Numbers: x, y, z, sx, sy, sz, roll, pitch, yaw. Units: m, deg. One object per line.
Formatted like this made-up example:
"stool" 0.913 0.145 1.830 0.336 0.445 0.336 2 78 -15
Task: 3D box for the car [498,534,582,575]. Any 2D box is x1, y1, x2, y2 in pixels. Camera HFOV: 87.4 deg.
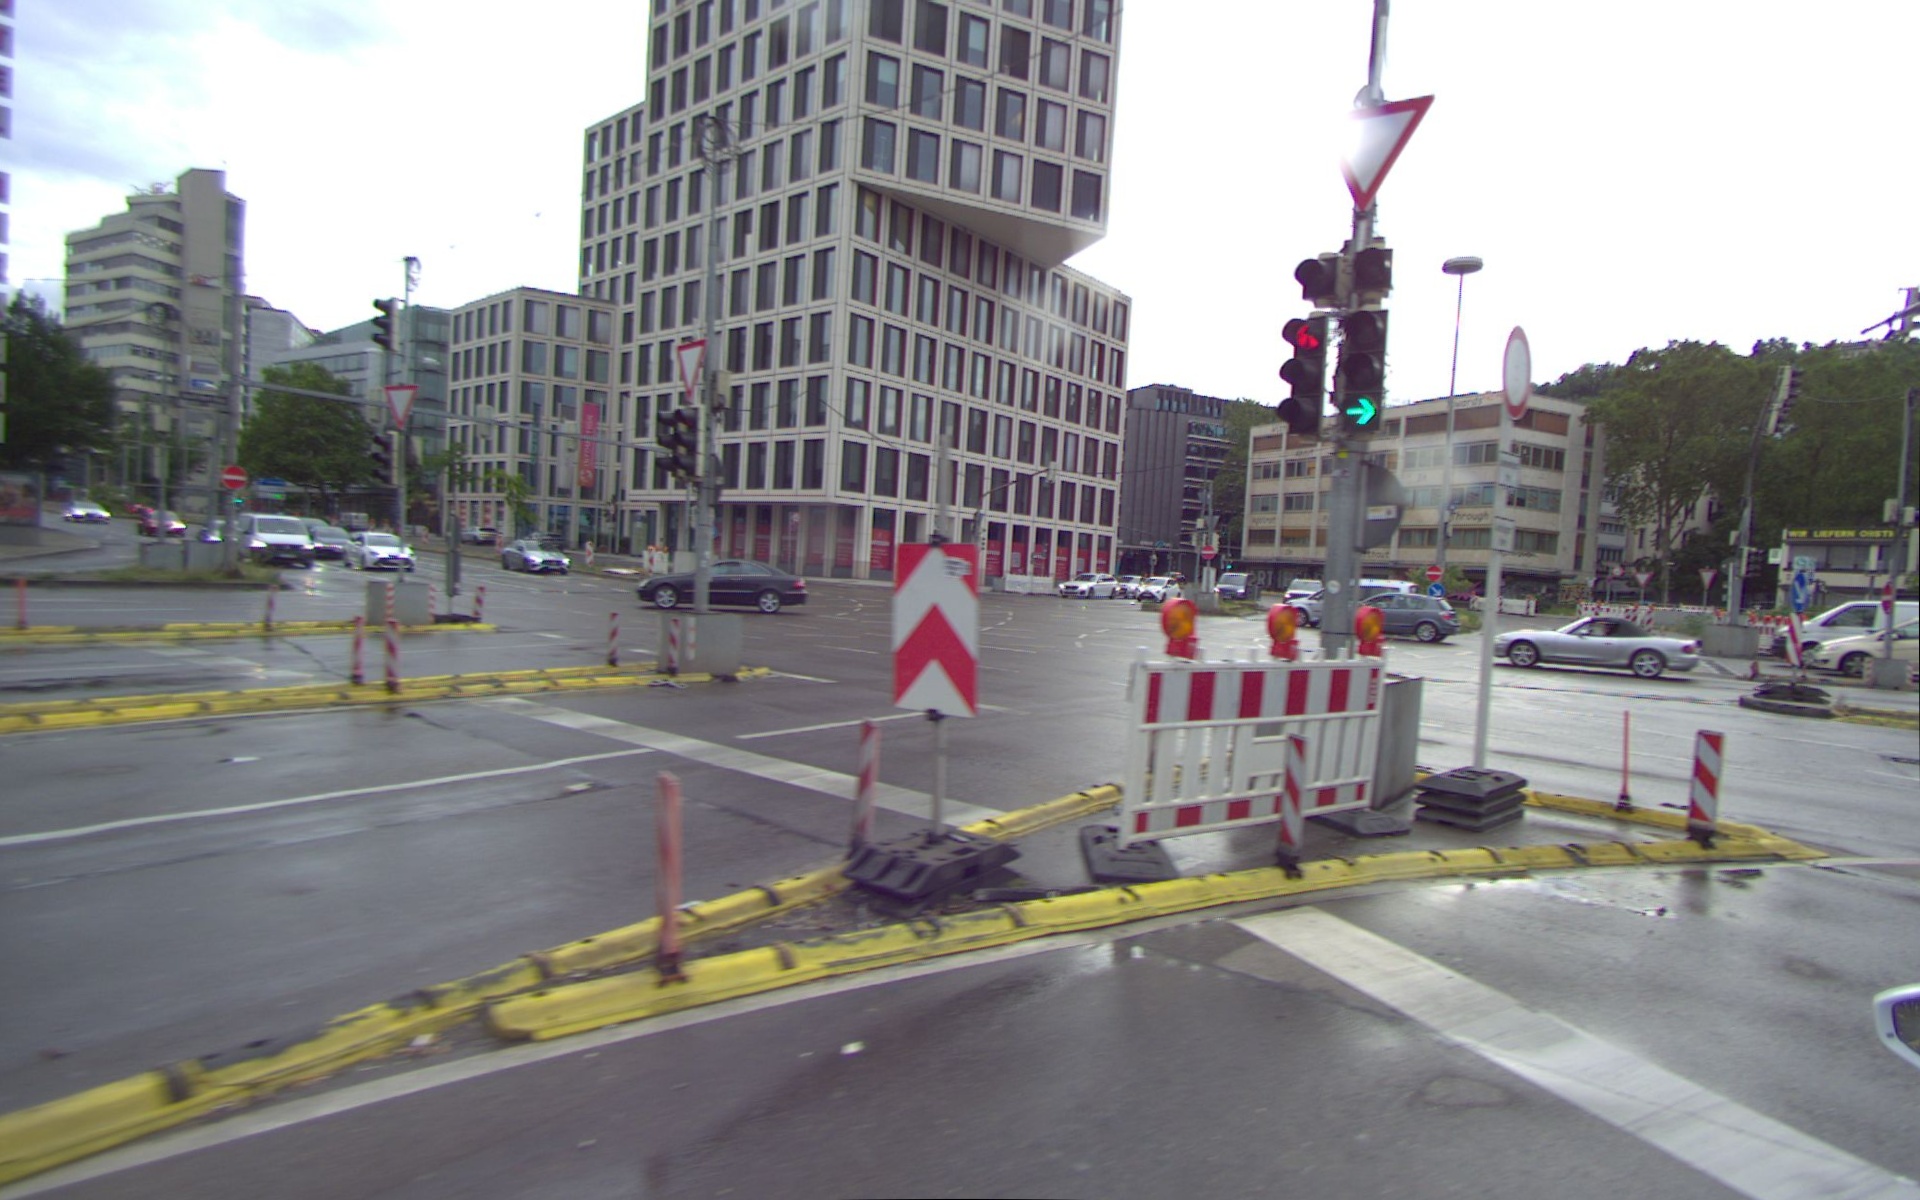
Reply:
"car" -18.904 -2.051 45.109 2.004 1.620 4.604 1 3 -42

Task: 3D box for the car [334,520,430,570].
"car" -23.029 -2.200 39.956 4.596 1.762 2.007 5 3 43

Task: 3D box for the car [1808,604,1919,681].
"car" 23.457 1.084 24.349 4.315 1.696 1.838 5 3 41

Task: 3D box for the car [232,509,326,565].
"car" -26.039 -2.428 38.321 2.074 1.930 5.016 0 3 -45

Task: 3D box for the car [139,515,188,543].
"car" -45.669 -4.073 57.576 3.434 1.503 1.664 4 3 42

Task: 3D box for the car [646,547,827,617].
"car" -5.991 -0.509 27.307 4.581 1.620 2.014 2 2 -11

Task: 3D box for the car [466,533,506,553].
"car" -40.556 -4.909 85.894 1.855 1.543 3.947 1 2 -44

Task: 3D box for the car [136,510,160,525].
"car" -92.610 -9.402 114.542 1.854 1.543 3.949 1 2 -42

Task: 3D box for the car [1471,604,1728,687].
"car" 13.615 0.891 21.598 4.455 1.327 1.637 4 3 35

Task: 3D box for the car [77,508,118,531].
"car" -61.944 -5.808 72.114 3.434 1.503 1.773 4 3 42

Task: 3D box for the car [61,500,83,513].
"car" -119.024 -12.517 134.634 3.944 1.543 1.856 5 2 44

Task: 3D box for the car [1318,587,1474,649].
"car" 13.711 0.519 31.691 4.114 1.620 1.844 5 3 37

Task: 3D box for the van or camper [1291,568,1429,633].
"van or camper" 14.324 -0.017 36.079 4.188 2.005 1.844 5 3 37

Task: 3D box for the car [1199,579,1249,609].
"car" 15.023 -0.348 57.101 1.855 1.578 3.995 4 2 27

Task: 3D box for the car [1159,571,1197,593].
"car" 23.482 -1.964 108.436 1.972 2.040 3.976 4 3 -23

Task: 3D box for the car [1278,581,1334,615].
"car" 17.016 -0.121 49.273 1.803 1.506 3.992 4 3 29

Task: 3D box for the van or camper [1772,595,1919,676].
"van or camper" 25.171 0.978 26.908 5.129 1.919 1.880 5 3 37

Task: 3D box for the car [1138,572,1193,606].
"car" 11.959 -0.646 58.404 1.774 1.840 3.990 4 3 32

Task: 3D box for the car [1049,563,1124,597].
"car" 7.436 -1.139 58.837 2.194 1.776 4.794 4 2 37

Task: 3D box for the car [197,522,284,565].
"car" -30.909 -2.448 43.093 4.593 1.620 2.008 5 3 41

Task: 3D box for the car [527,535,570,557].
"car" -32.031 -4.190 78.098 1.854 1.543 3.949 1 2 -42

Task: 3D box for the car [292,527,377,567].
"car" -28.542 -2.435 45.762 4.593 1.620 2.008 5 3 41
